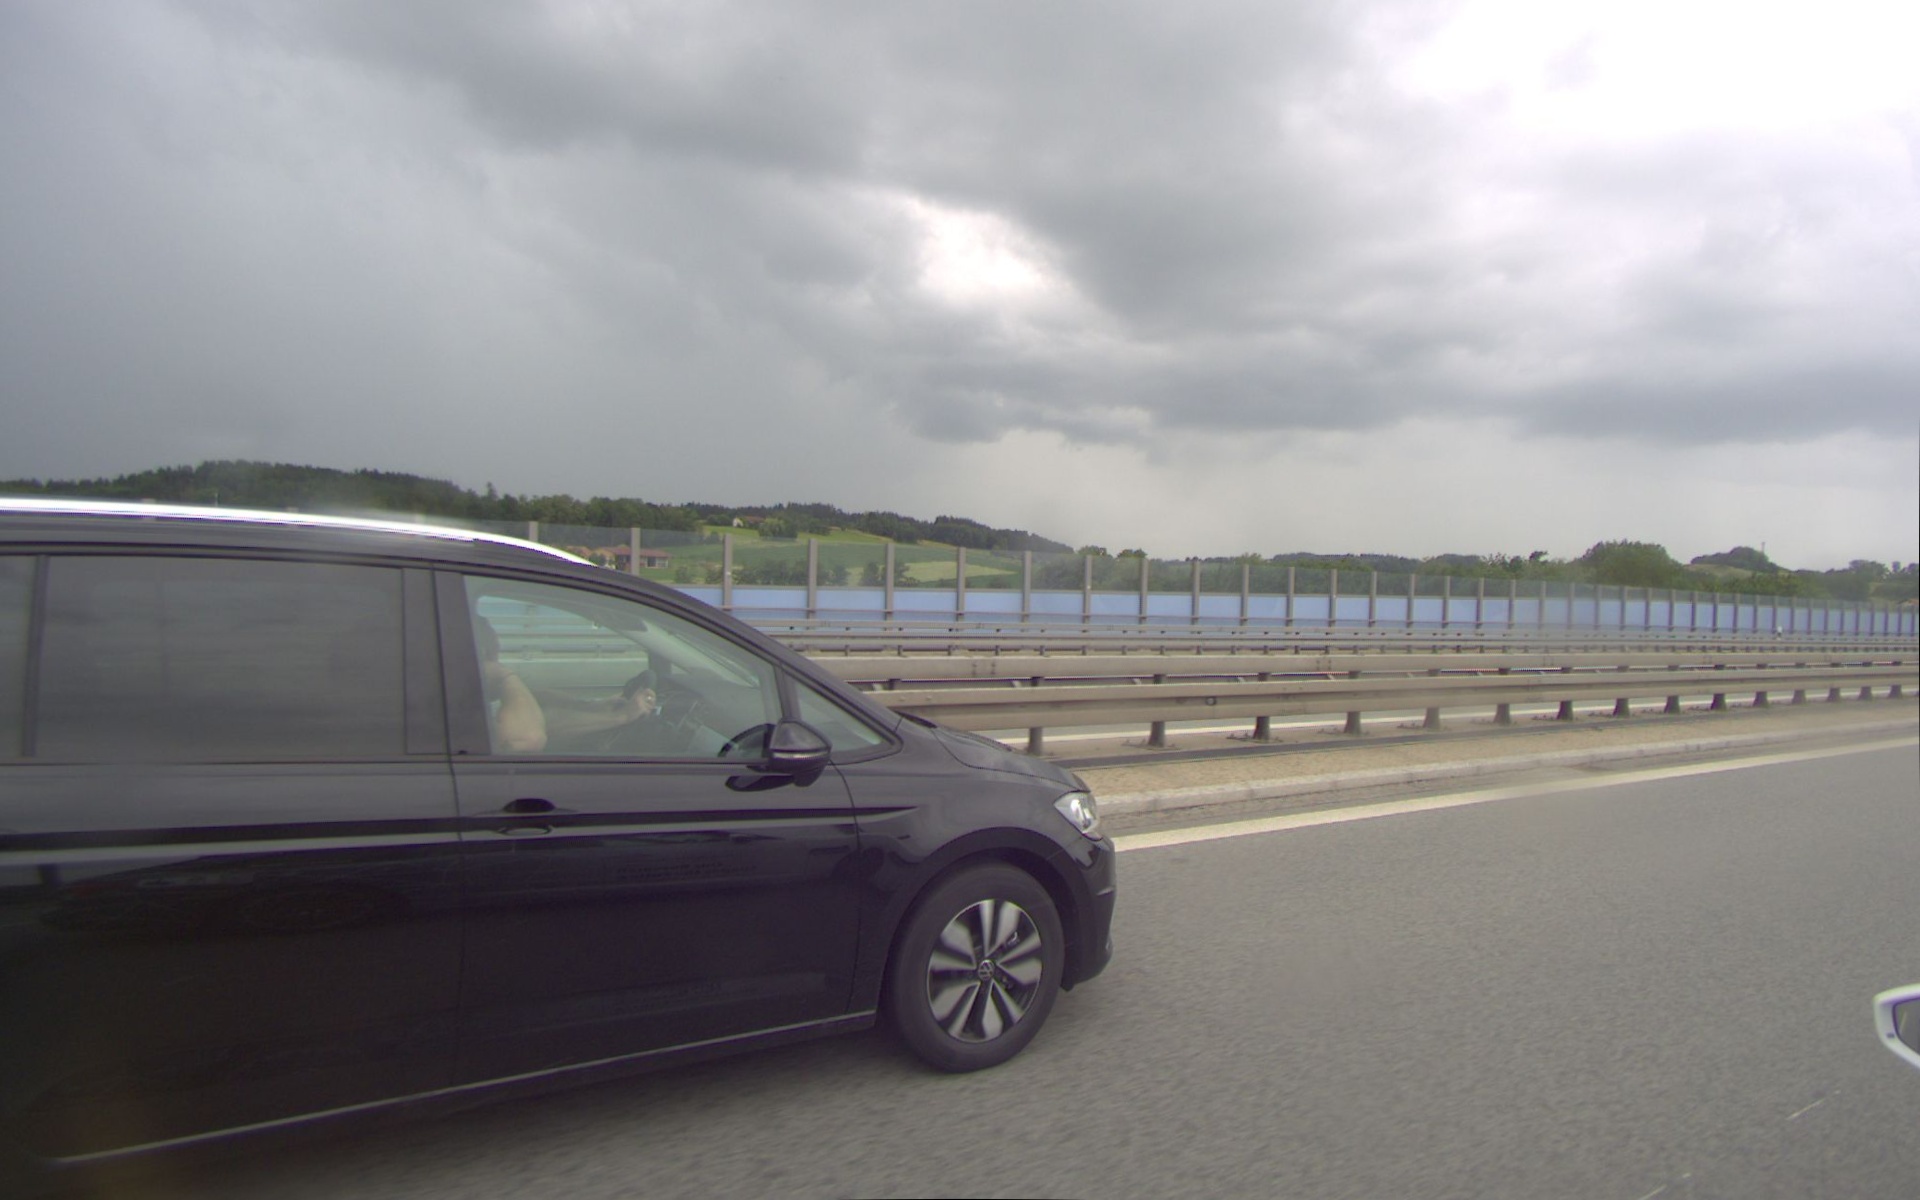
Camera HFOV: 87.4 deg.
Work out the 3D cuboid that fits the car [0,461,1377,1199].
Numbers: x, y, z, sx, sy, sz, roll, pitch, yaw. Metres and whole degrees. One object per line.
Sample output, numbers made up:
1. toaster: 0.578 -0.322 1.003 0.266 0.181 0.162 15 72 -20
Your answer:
1. car: -1.140 0.600 3.419 5.333 1.693 1.887 1 0 -31
